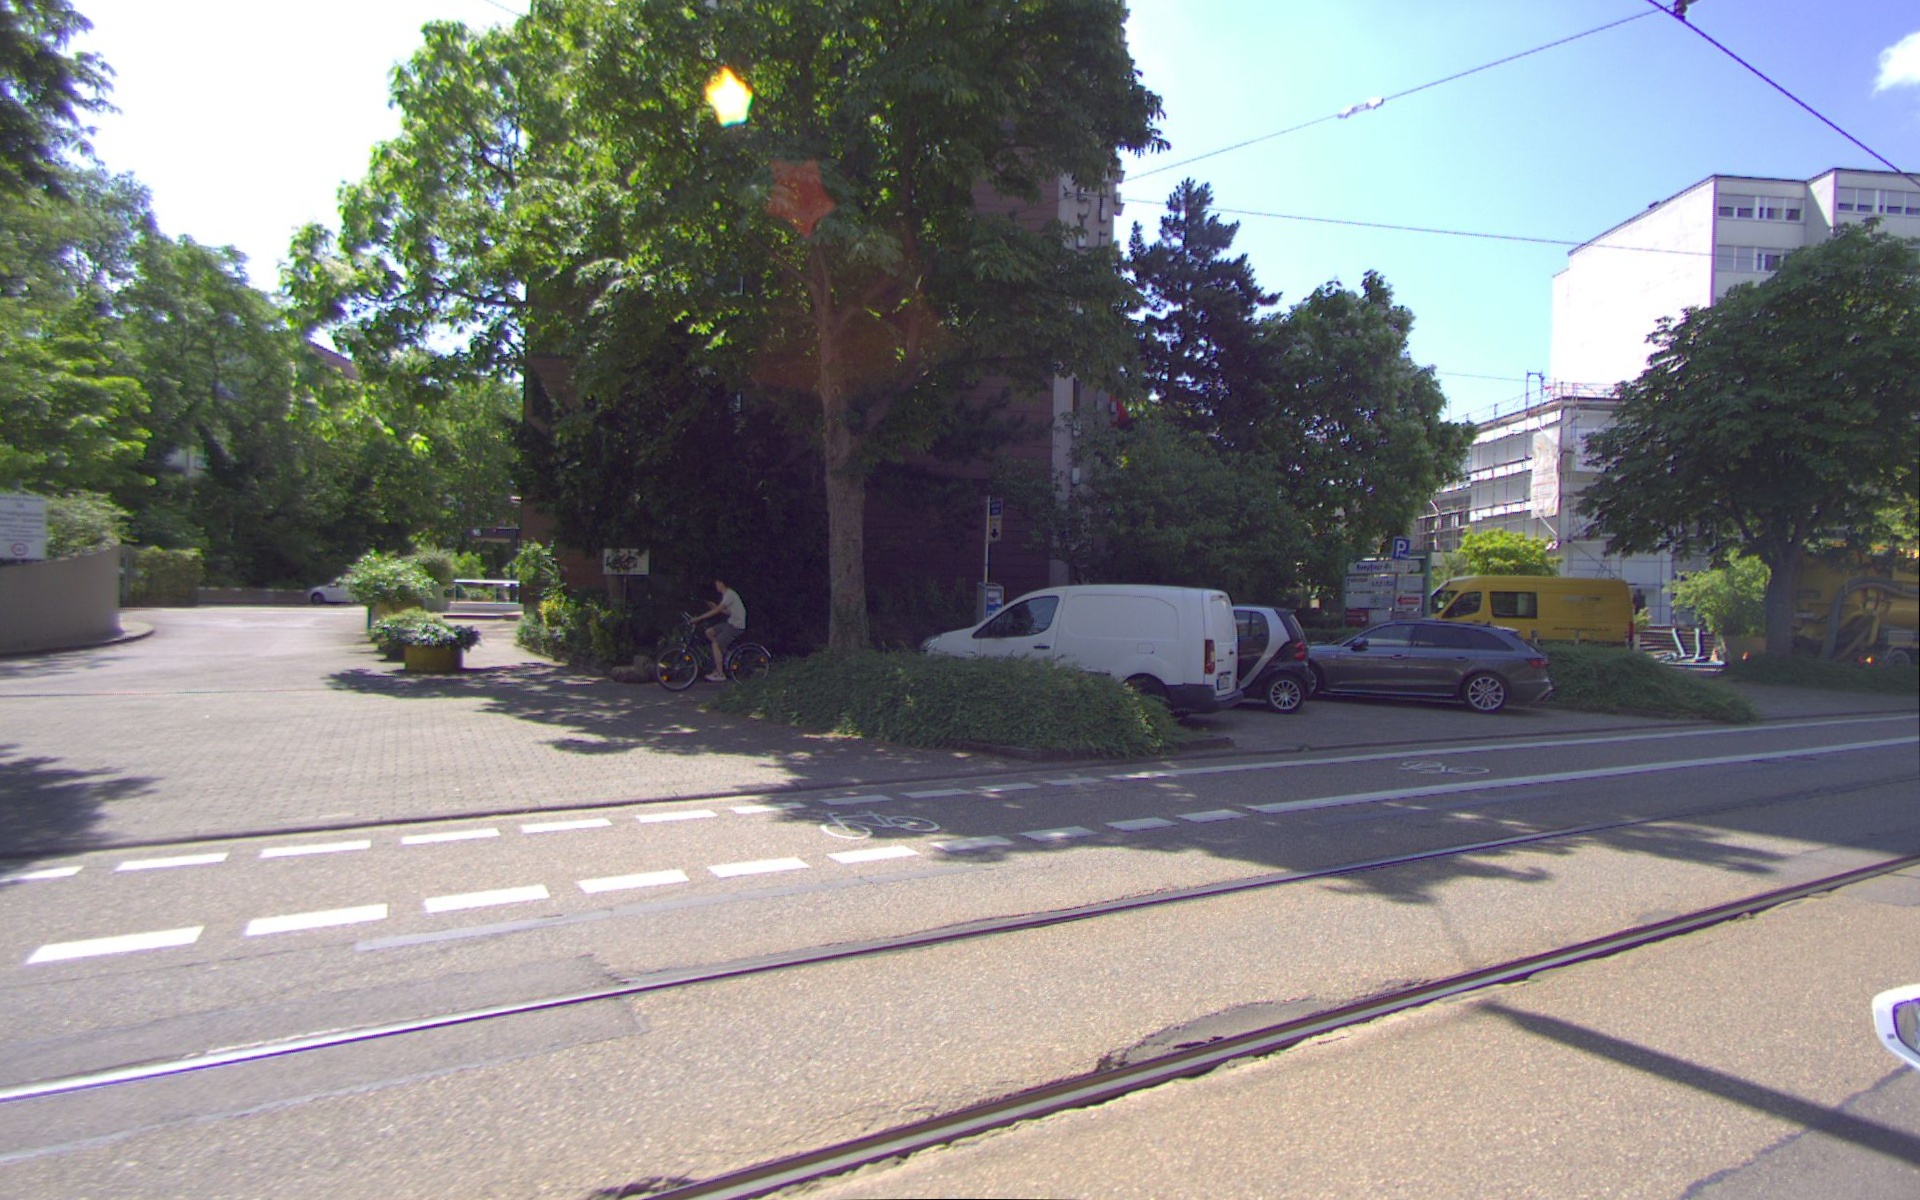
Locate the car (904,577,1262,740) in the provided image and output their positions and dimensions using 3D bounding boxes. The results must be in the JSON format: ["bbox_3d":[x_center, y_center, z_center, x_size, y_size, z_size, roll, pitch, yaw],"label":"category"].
[{"bbox_3d":[1.644,0.673,13.783,4.465,1.815,1.898,2,1,28],"label":"car"}]

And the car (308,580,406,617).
[{"bbox_3d":[-31.542,-0.102,52.690,3.932,1.807,1.994,2,1,-14],"label":"car"}]

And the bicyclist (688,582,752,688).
[{"bbox_3d":[-3.487,0.503,14.600,0.772,1.501,0.478,1,1,-32],"label":"bicyclist"}]

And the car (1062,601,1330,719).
[{"bbox_3d":[3.721,0.867,15.854,3.872,1.553,1.772,2,1,19],"label":"car"}]

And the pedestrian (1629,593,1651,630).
[{"bbox_3d":[29.802,0.513,44.028,0.608,1.576,0.478,1,-2,-3],"label":"pedestrian"}]

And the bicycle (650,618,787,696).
[{"bbox_3d":[-3.496,0.810,14.616,1.856,1.061,0.515,1,1,-33],"label":"bicycle"}]

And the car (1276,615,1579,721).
[{"bbox_3d":[7.696,1.059,16.919,4.361,1.413,1.772,2,1,22],"label":"car"}]

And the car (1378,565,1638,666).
[{"bbox_3d":[16.414,0.464,30.339,6.592,2.599,2.185,3,0,0],"label":"car"}]

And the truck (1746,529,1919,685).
[{"bbox_3d":[27.450,0.342,28.092,10.785,3.893,2.714,2,1,-16],"label":"truck"}]
